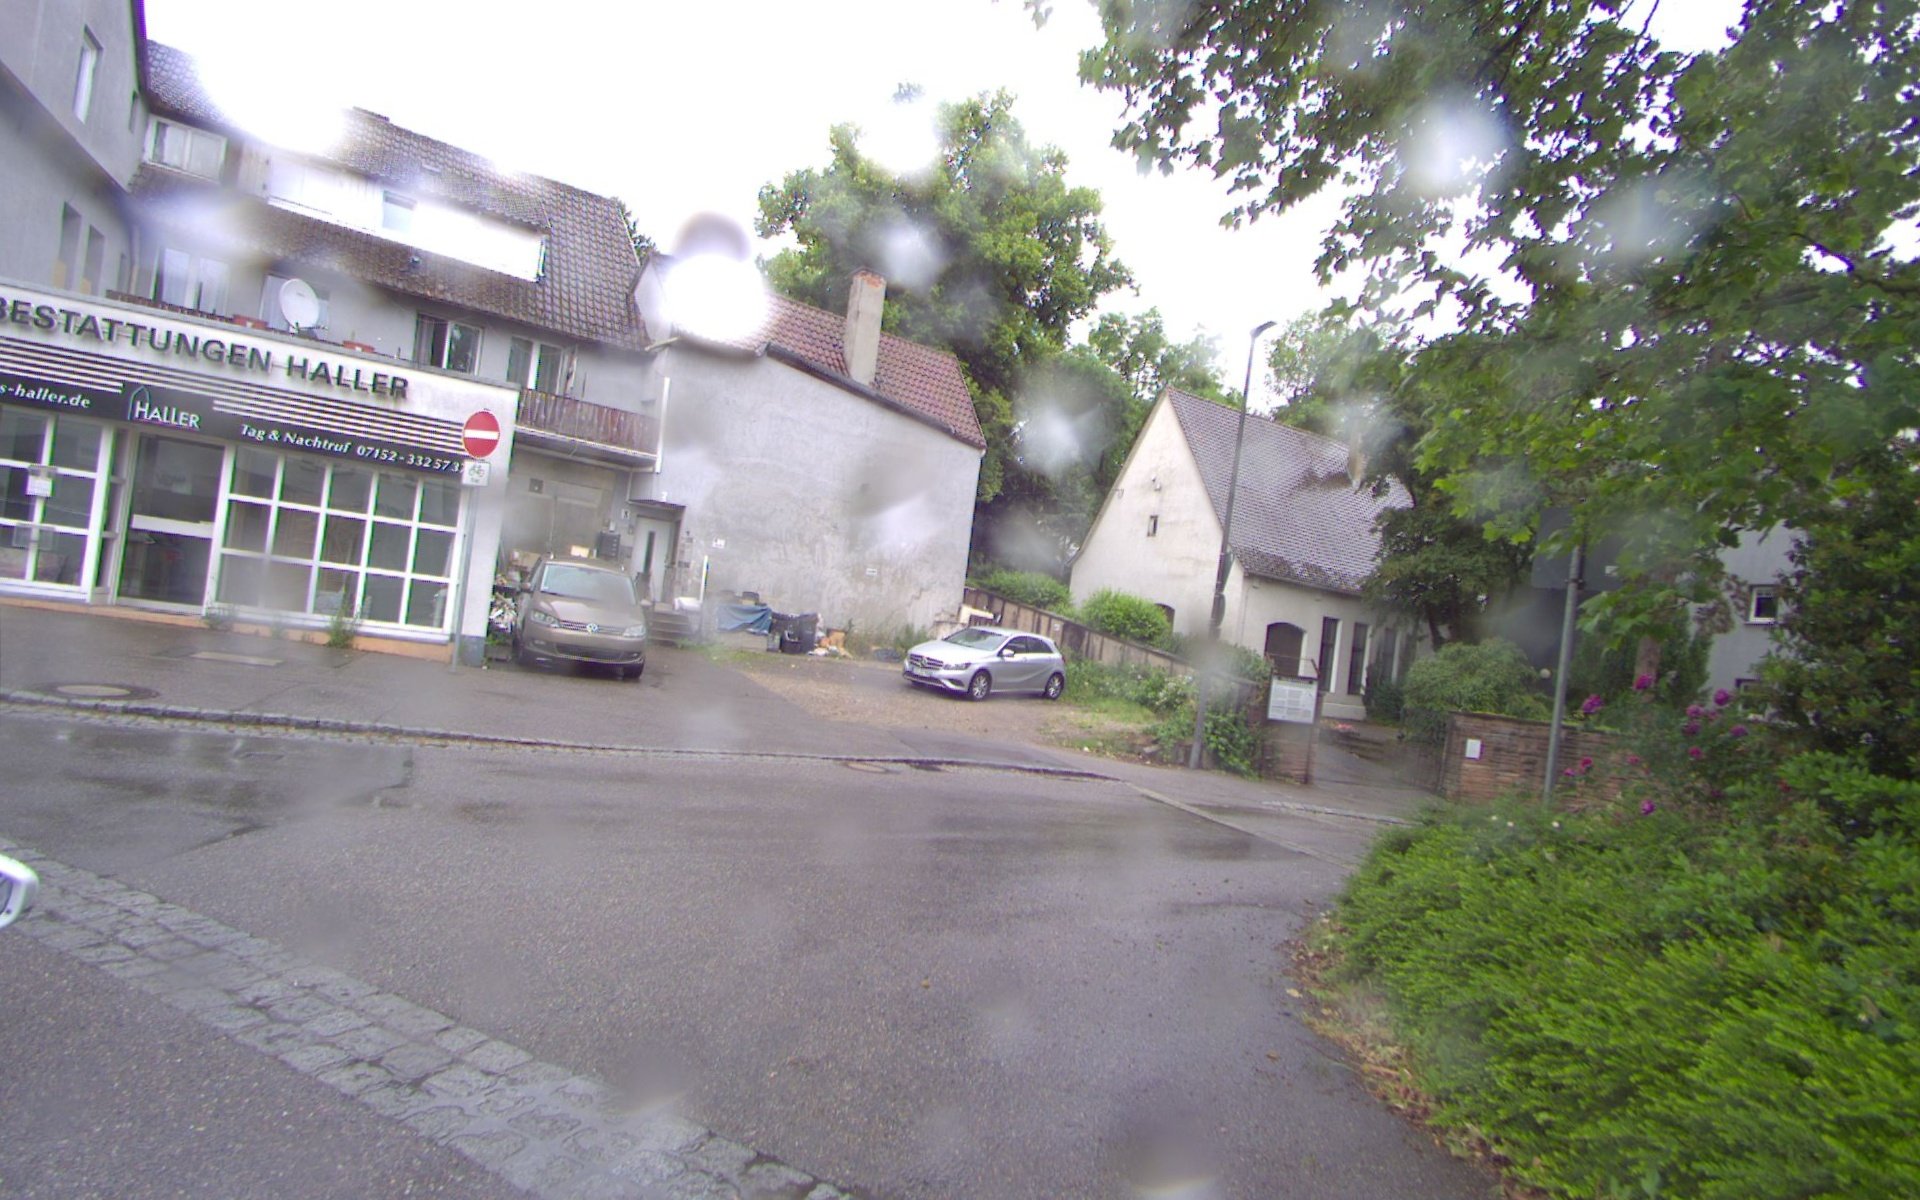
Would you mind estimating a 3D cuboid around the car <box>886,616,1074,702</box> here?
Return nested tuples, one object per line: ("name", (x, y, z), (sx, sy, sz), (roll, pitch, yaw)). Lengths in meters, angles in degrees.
("car", (0.508, 1.293, 21.383), (1.717, 1.406, 4.022), (10, 2, 40))

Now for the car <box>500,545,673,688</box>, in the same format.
("car", (-6.285, 0.166, 16.552), (1.908, 1.749, 4.634), (8, 0, -28))
